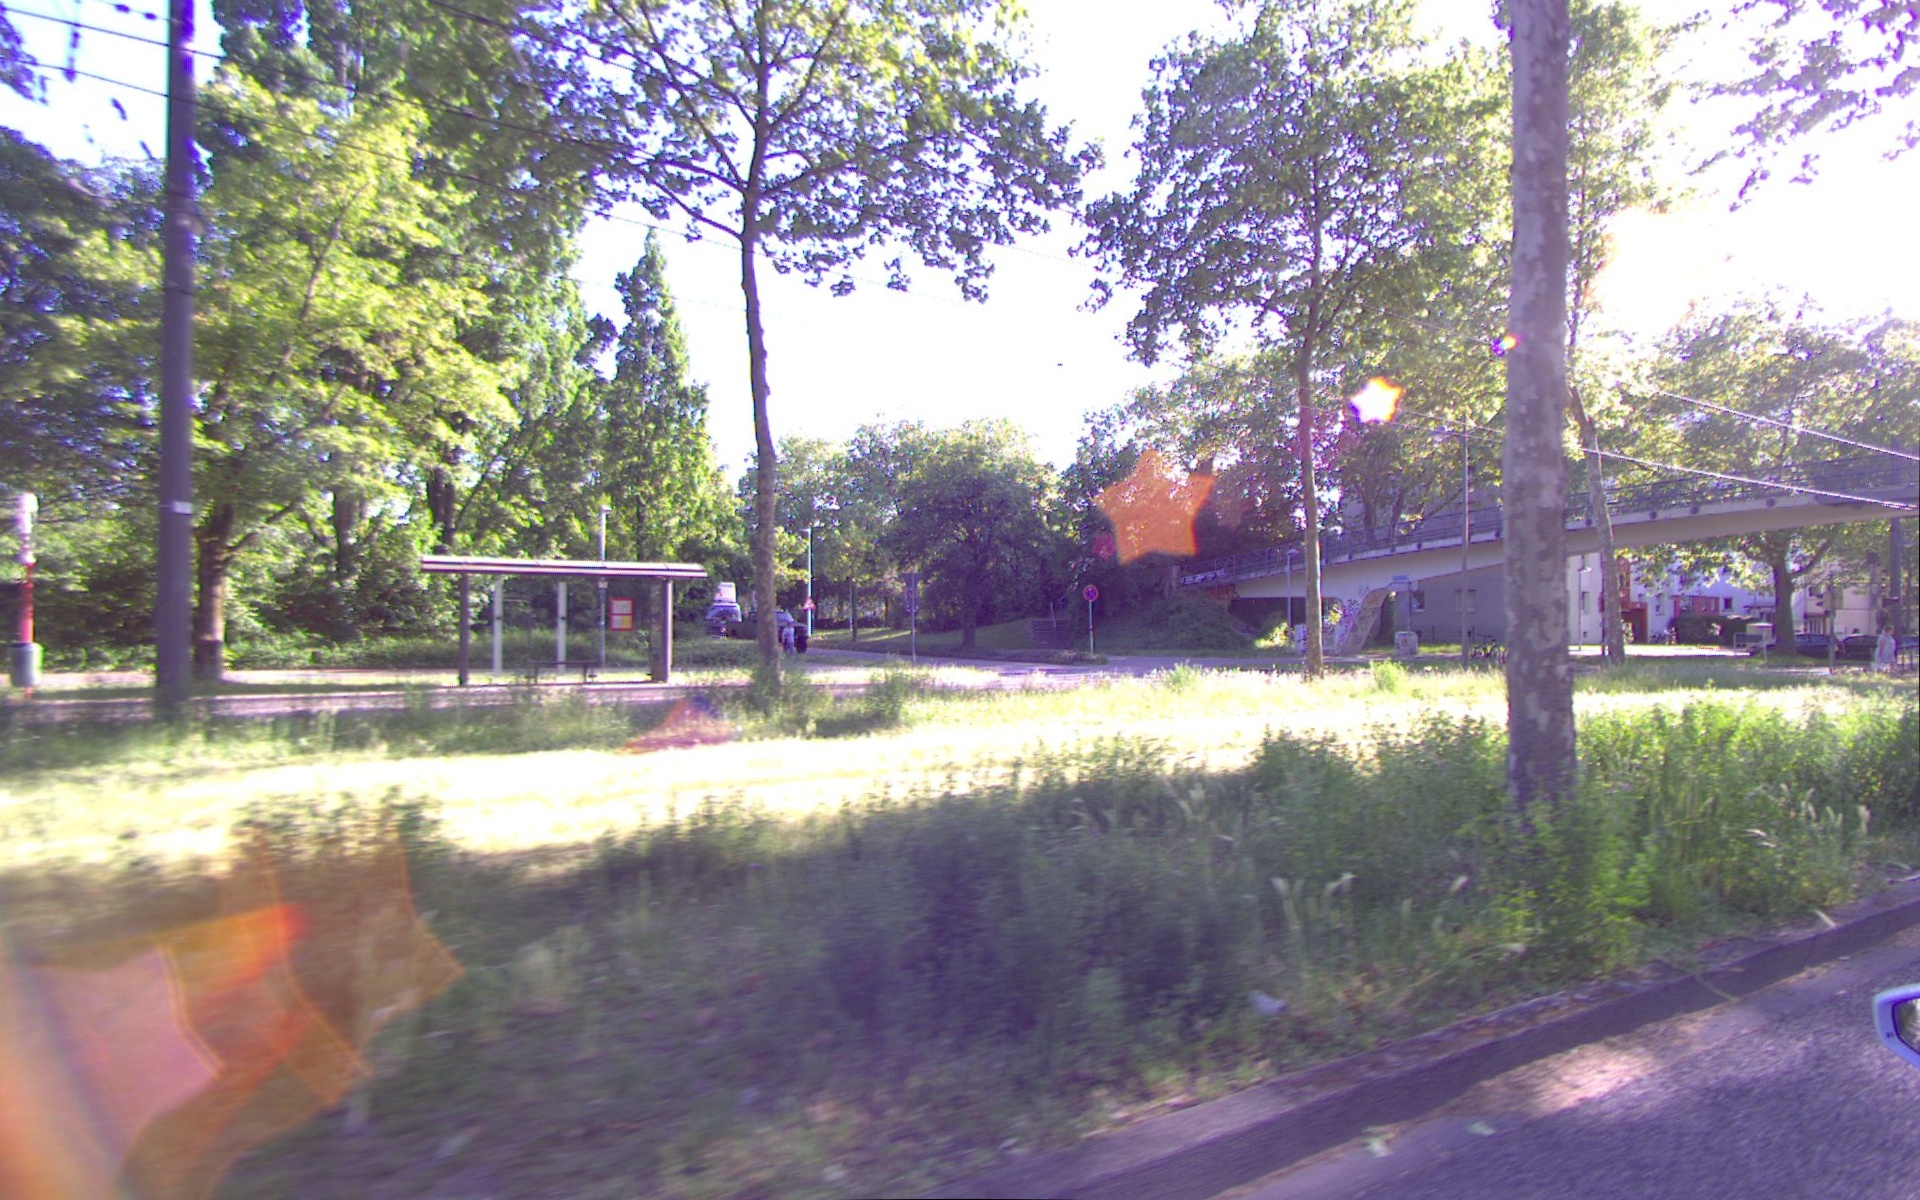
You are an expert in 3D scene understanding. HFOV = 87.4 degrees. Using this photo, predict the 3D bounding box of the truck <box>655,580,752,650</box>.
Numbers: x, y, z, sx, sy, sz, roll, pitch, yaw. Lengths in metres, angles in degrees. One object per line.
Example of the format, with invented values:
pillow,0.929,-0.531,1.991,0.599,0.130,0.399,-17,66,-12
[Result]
truck,-15.221,0.908,59.095,2.720,3.800,8.433,2,-1,-35

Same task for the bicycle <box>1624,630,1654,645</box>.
bicycle,44.646,2.450,66.055,2.567,0.940,0.691,0,1,-32

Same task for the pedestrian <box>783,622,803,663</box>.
pedestrian,-6.242,1.574,37.548,0.581,1.511,0.530,1,0,-32

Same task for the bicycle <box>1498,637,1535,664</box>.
bicycle,21.908,1.964,39.534,1.666,1.022,0.432,1,0,-29

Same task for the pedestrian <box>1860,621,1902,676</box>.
pedestrian,29.447,1.549,32.123,1.037,1.696,0.721,2,0,-32

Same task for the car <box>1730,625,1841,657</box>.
car,43.000,2.091,52.400,4.119,1.447,1.699,1,1,23

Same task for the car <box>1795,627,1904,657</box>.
car,48.932,2.275,55.358,4.119,1.447,1.699,1,1,23

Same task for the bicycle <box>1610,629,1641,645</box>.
bicycle,44.257,2.443,66.796,2.567,0.940,0.691,0,1,-32

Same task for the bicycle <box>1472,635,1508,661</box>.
bicycle,21.649,1.965,41.031,1.666,1.022,0.432,1,0,-29

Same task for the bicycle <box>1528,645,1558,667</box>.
bicycle,22.049,2.102,37.976,1.160,0.789,0.432,1,0,-29

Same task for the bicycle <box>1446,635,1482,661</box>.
bicycle,20.482,1.932,40.840,1.666,1.022,0.432,1,0,-29

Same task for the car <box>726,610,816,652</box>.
car,-9.616,1.513,50.564,2.203,1.974,6.095,2,-1,-34
